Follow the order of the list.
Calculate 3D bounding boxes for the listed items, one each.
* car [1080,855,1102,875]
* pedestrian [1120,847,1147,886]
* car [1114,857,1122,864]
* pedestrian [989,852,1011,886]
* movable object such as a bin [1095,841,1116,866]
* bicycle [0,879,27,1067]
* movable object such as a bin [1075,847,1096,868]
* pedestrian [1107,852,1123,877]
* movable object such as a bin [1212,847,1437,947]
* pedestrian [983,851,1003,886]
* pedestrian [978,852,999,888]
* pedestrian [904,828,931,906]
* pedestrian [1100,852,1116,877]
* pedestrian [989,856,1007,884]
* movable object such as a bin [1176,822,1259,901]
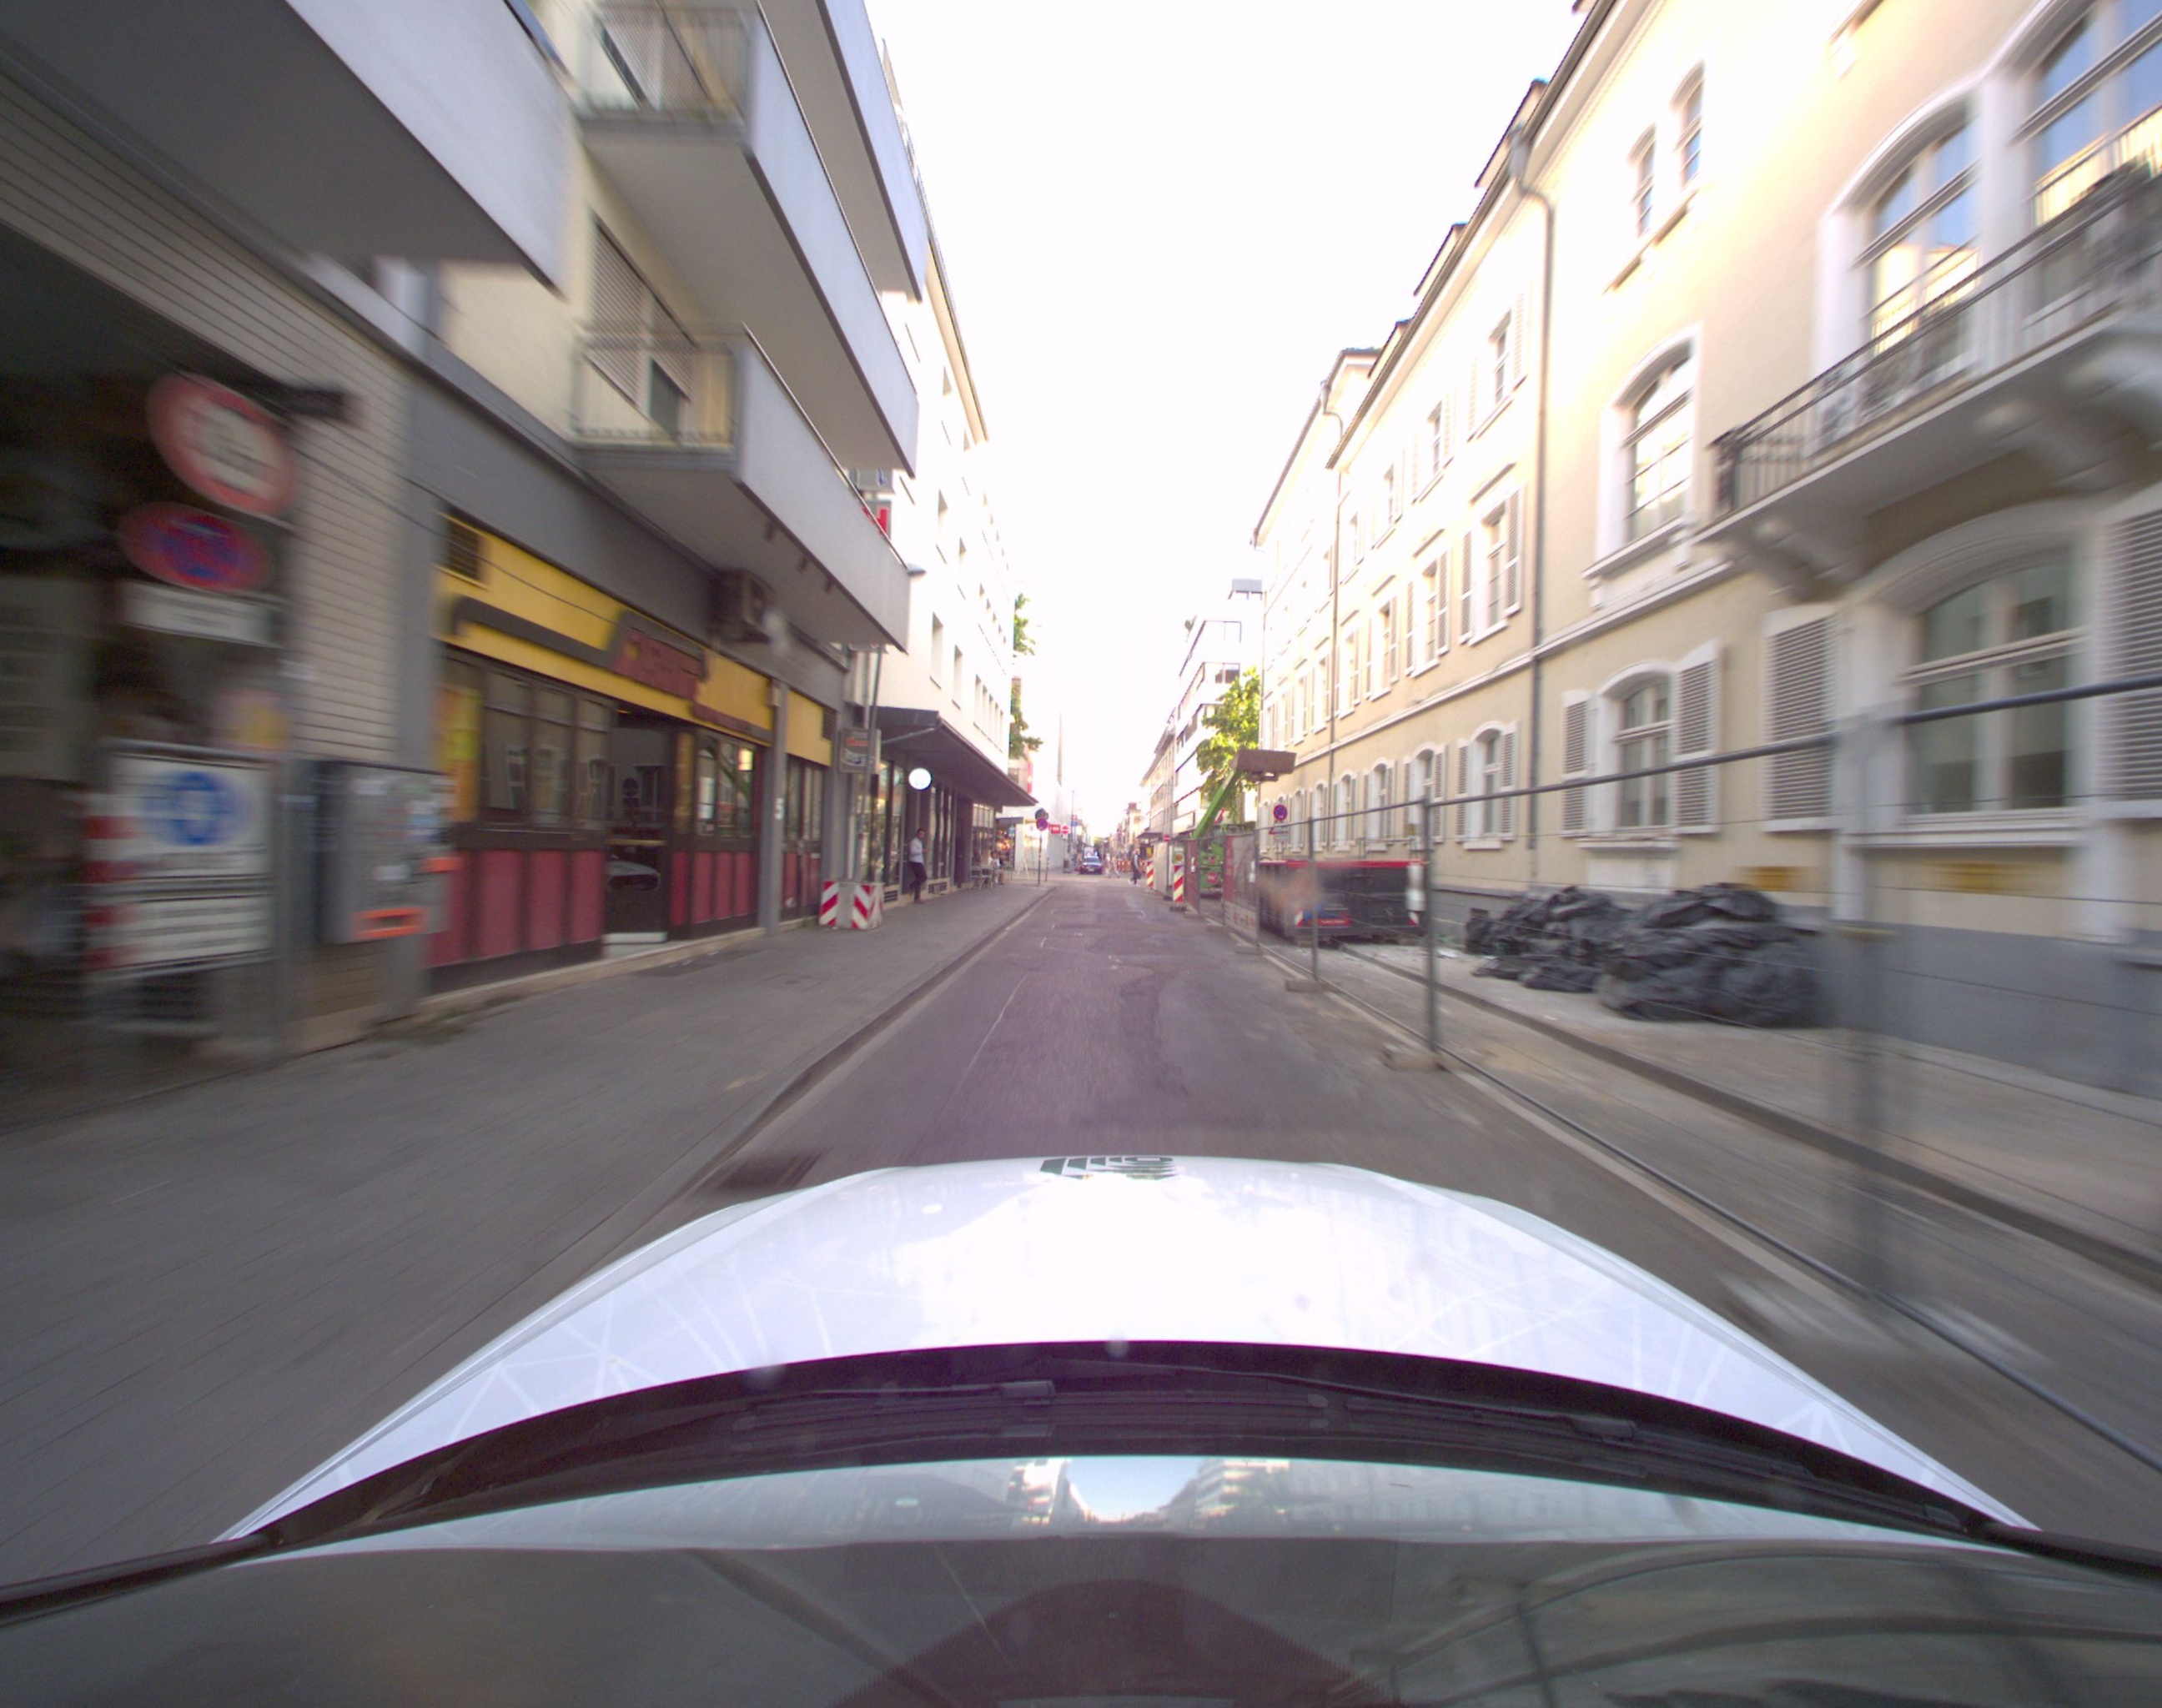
[{"bbox_3d":[0.821,0.862,66.030,1.625,1.550,3.140,1,0,-2],"label":"car"},{"bbox_3d":[2.493,0.589,38.747,1.075,1.835,0.693,1,0,-20],"label":"pedestrian"},{"bbox_3d":[9.363,1.582,205.060,1.986,1.776,4.001,1,0,1],"label":"car"},{"bbox_3d":[-3.171,0.578,32.004,0.699,1.275,0.714,3,0,1],"label":"pedestrian"},{"bbox_3d":[2.712,-0.001,91.418,2.149,2.664,4.573,2,0,1],"label":"movable object such as a bin"},{"bbox_3d":[-5.716,0.624,3.526,0.376,0.961,1.501,2,1,-2],"label":"bicycle"},{"bbox_3d":[0.475,0.388,81.264,1.986,2.013,4.001,1,0,2],"label":"movable object such as a bin"},{"bbox_3d":[2.308,0.715,54.806,0.615,1.627,0.863,1,0,-41],"label":"pedestrian"},{"bbox_3d":[4.897,0.763,18.093,2.727,1.638,7.552,2,0,0],"label":"movable object such as a bin"},{"bbox_3d":[-3.334,0.559,30.980,0.571,1.275,0.714,4,0,1],"label":"pedestrian"},{"bbox_3d":[-3.405,0.564,29.993,0.571,1.275,0.714,3,0,1],"label":"pedestrian"},{"bbox_3d":[-3.925,0.304,19.617,0.529,1.834,0.562,1,0,-5],"label":"pedestrian"},{"bbox_3d":[1.825,0.708,54.383,0.615,1.627,0.863,1,0,-41],"label":"pedestrian"},{"bbox_3d":[-3.361,0.637,32.908,0.571,1.113,0.714,3,0,1],"label":"pedestrian"},{"bbox_3d":[5.259,0.283,32.125,2.595,2.839,4.451,1,0,1],"label":"movable object such as a bin"}]
